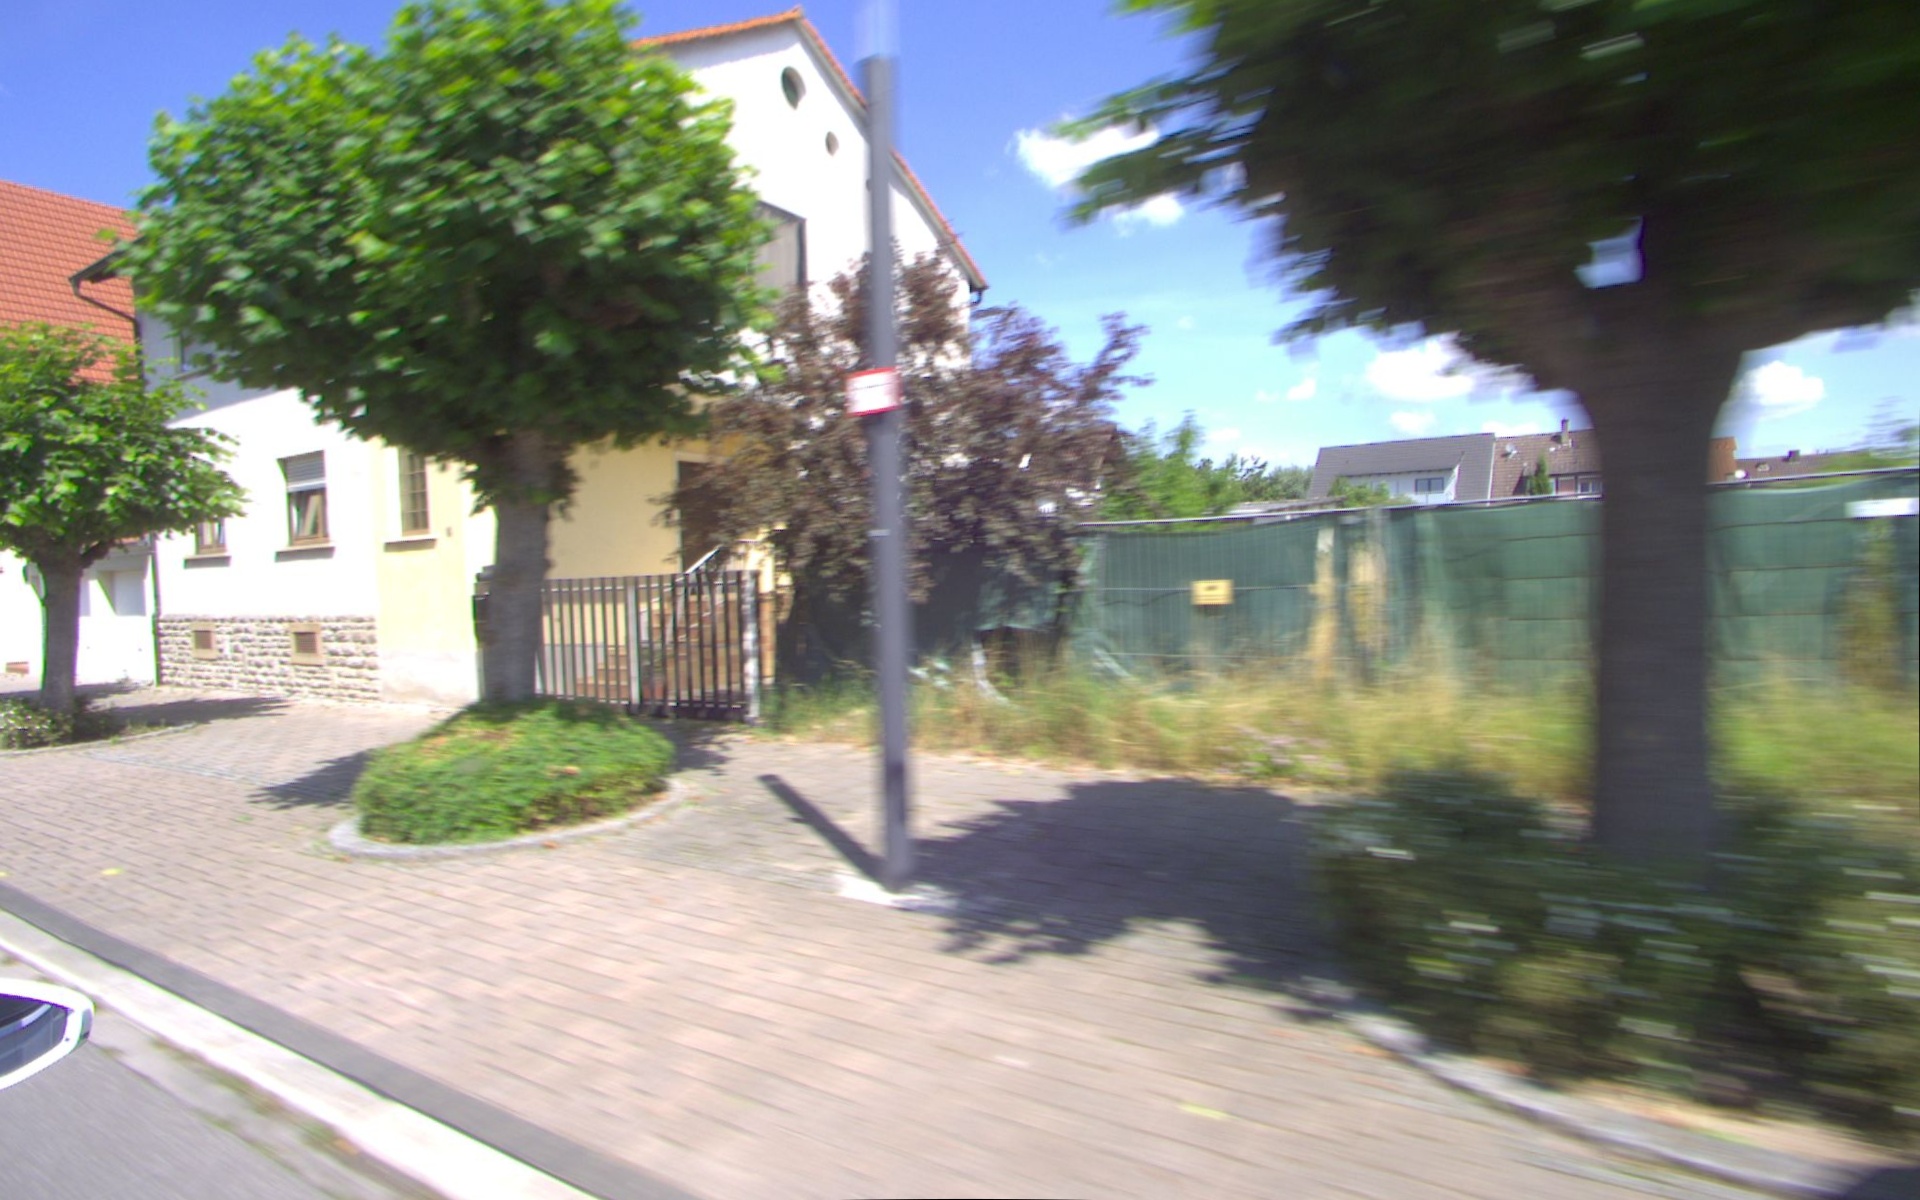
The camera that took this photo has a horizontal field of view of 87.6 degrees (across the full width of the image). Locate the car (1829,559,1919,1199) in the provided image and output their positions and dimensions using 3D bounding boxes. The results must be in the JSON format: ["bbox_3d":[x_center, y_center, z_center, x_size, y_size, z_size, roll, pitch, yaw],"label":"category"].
[{"bbox_3d":[3.275,0.663,0.533,4.000,1.452,1.818,-1,3,33],"label":"car"}]
